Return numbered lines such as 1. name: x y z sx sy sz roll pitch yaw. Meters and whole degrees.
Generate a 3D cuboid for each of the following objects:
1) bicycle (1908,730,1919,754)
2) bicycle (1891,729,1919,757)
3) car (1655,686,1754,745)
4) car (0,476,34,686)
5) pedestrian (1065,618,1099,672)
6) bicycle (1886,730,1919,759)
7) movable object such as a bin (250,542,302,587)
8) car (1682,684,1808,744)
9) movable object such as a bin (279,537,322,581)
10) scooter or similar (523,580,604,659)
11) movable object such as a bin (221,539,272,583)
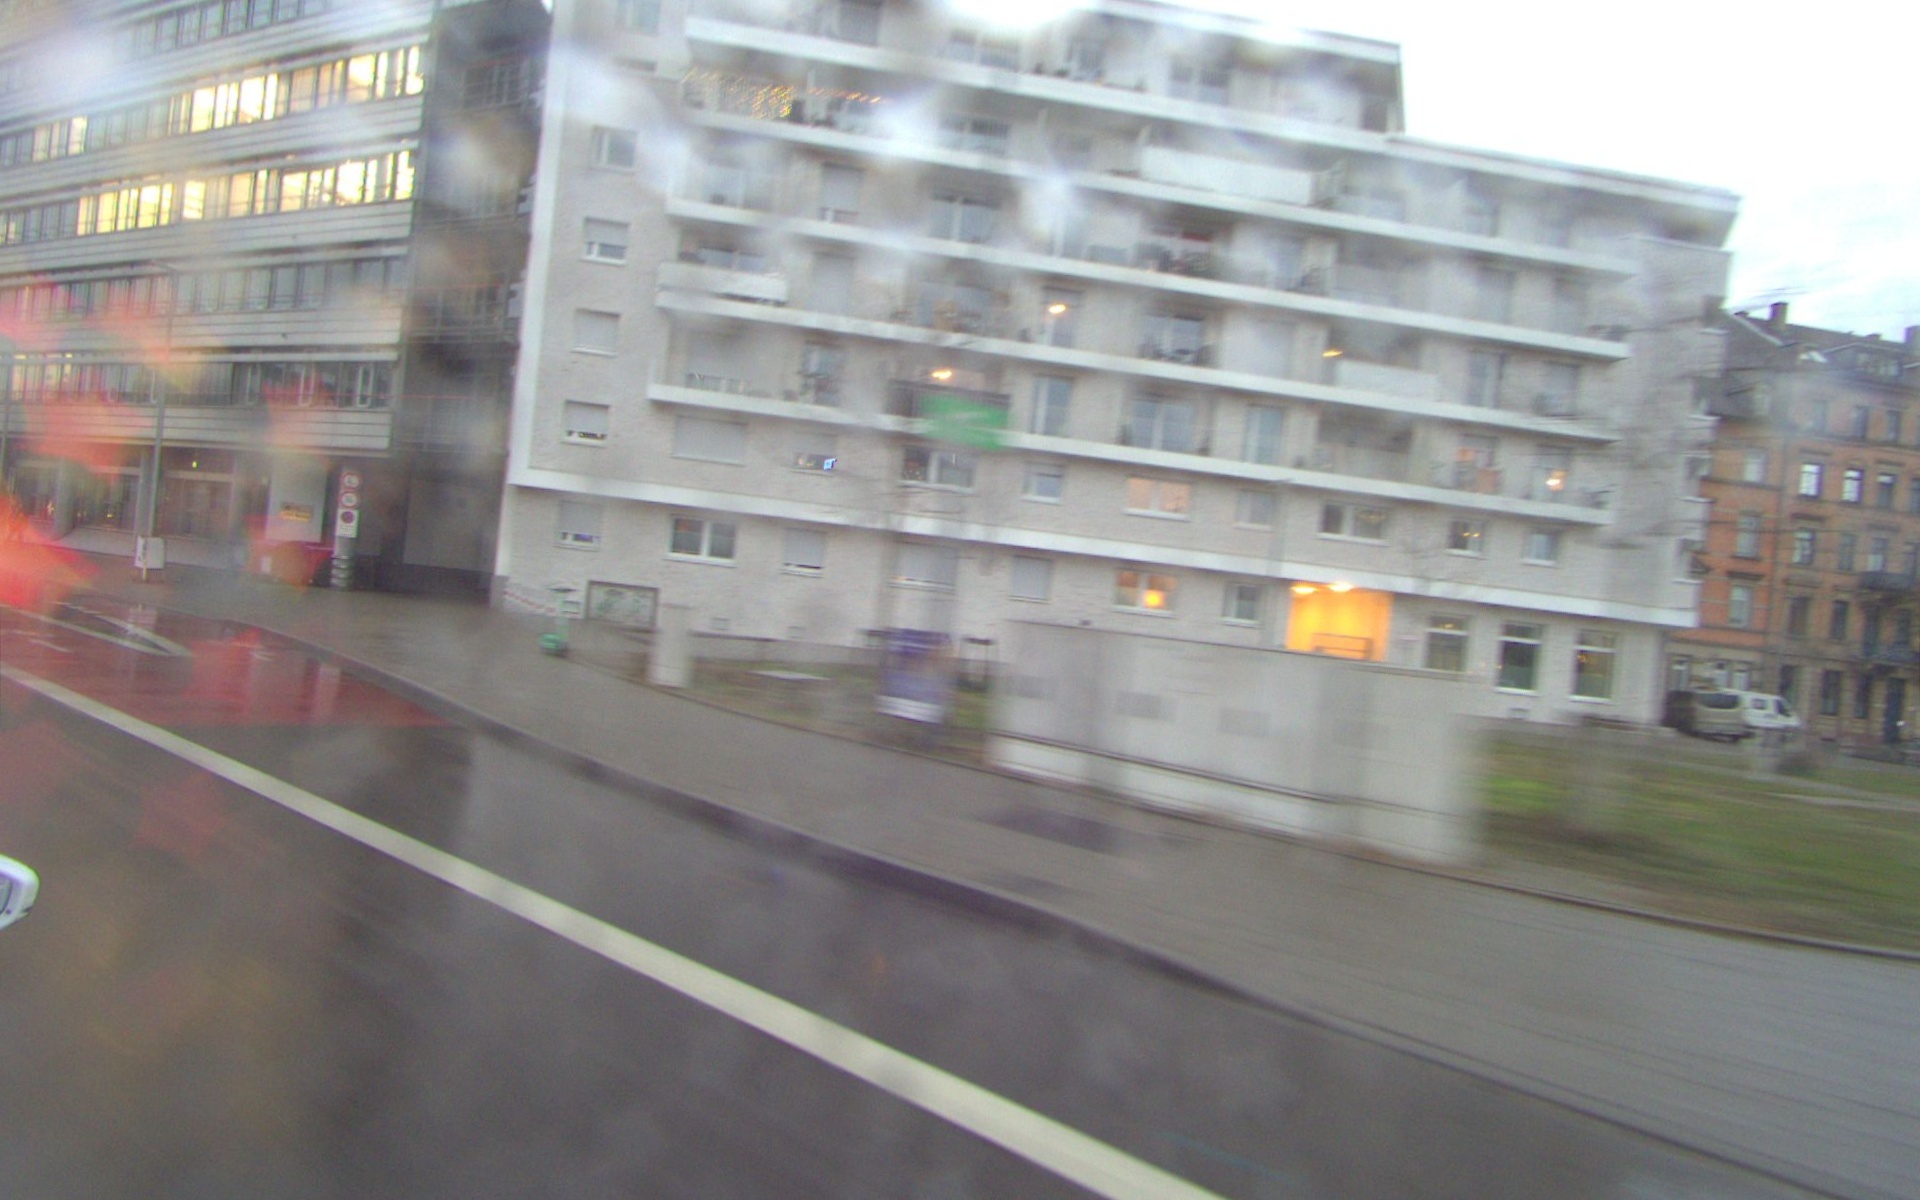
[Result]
1. bicycle: 40.052 5.941 41.124 0.441 0.943 1.781 6 2 -30
2. bicycle: 37.616 5.666 39.249 0.441 0.943 1.781 6 2 -30
3. car: 31.110 4.774 42.214 1.907 1.966 4.598 6 -1 20
4. car: -10.270 -0.387 9.249 3.938 1.800 1.675 6 -2 36
5. pedestrian: 3.904 1.439 32.269 0.625 1.652 0.717 6 0 -29
6. bicycle: 37.161 5.669 38.963 0.441 0.943 1.781 6 2 -30
7. movable object such as a bin: -22.339 -1.152 32.868 1.147 1.311 0.845 6 2 23
8. car: 37.503 5.441 48.113 4.581 2.216 1.997 6 0 -9
9. movable object such as a bin: -23.139 -1.438 35.289 1.060 1.401 0.730 6 2 23
10. scooter or similar: -6.837 0.329 17.306 0.666 1.241 1.537 5 -1 -45
11. movable object such as a bin: -23.631 -1.289 33.307 1.147 1.311 0.845 6 2 23
